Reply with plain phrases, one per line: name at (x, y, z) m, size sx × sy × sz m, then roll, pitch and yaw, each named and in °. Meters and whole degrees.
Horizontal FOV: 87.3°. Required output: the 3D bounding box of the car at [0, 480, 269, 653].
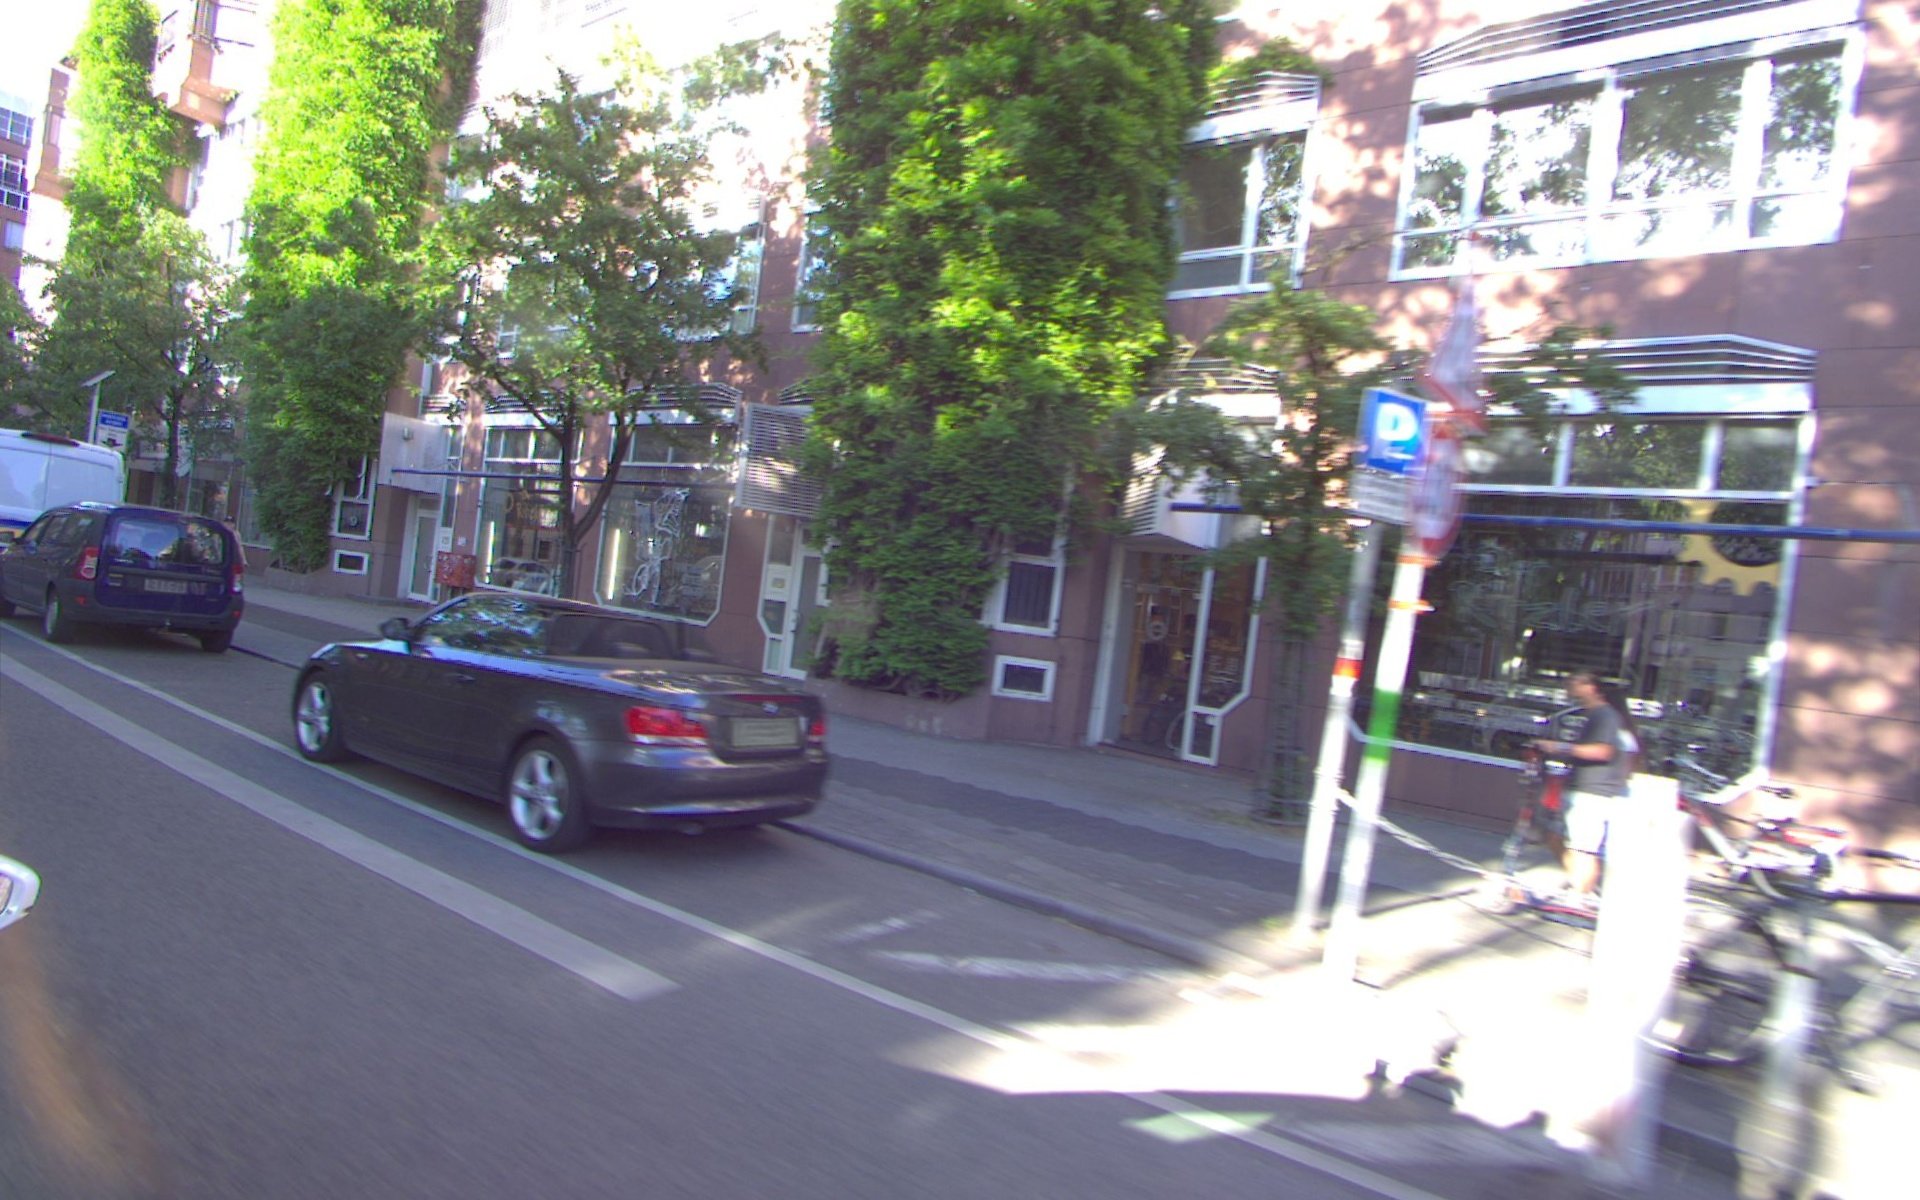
car at (-10.393, -0.473, 12.341) m, size 4.415 × 1.639 × 1.621 m, roll 7°, pitch 0°, yaw 35°

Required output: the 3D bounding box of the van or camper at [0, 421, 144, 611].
van or camper at (-15.584, -1.449, 16.333) m, size 5.683 × 2.571 × 2.049 m, roll 7°, pitch 0°, yaw 36°

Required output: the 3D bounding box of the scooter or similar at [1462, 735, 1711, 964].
scooter or similar at (4.042, 1.575, 6.567) m, size 1.229 × 1.172 × 0.395 m, roll 7°, pitch 0°, yaw 32°

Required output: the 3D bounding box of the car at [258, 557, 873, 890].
car at (-2.794, 0.611, 6.709) m, size 4.243 × 1.318 × 1.621 m, roll 7°, pitch -1°, yaw 34°

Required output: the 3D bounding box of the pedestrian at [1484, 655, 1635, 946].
pedestrian at (4.049, 1.303, 6.858) m, size 0.599 × 1.785 × 0.788 m, roll 7°, pitch 0°, yaw 24°

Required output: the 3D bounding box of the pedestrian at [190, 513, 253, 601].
pedestrian at (-13.420, -0.780, 18.287) m, size 0.761 × 1.462 × 0.772 m, roll 8°, pitch -1°, yaw -37°

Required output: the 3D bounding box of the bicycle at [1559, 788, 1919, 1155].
bicycle at (3.508, 1.466, 3.978) m, size 1.719 × 1.066 × 0.740 m, roll 7°, pitch 0°, yaw 17°

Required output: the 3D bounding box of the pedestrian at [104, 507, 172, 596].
pedestrian at (-16.312, -0.954, 19.979) m, size 0.538 × 1.665 × 0.764 m, roll 7°, pitch 0°, yaw 28°

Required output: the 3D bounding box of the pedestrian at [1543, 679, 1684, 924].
pedestrian at (4.932, 1.487, 7.633) m, size 0.668 × 1.693 × 0.460 m, roll 7°, pitch 0°, yaw 26°

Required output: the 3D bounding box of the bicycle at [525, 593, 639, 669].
bicycle at (-6.377, 0.511, 16.937) m, size 1.881 × 1.033 × 0.619 m, roll 7°, pitch 0°, yaw 28°

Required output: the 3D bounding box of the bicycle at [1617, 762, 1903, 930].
bicycle at (6.719, 2.039, 8.587) m, size 1.722 × 0.951 × 0.738 m, roll 7°, pitch 0°, yaw 30°
